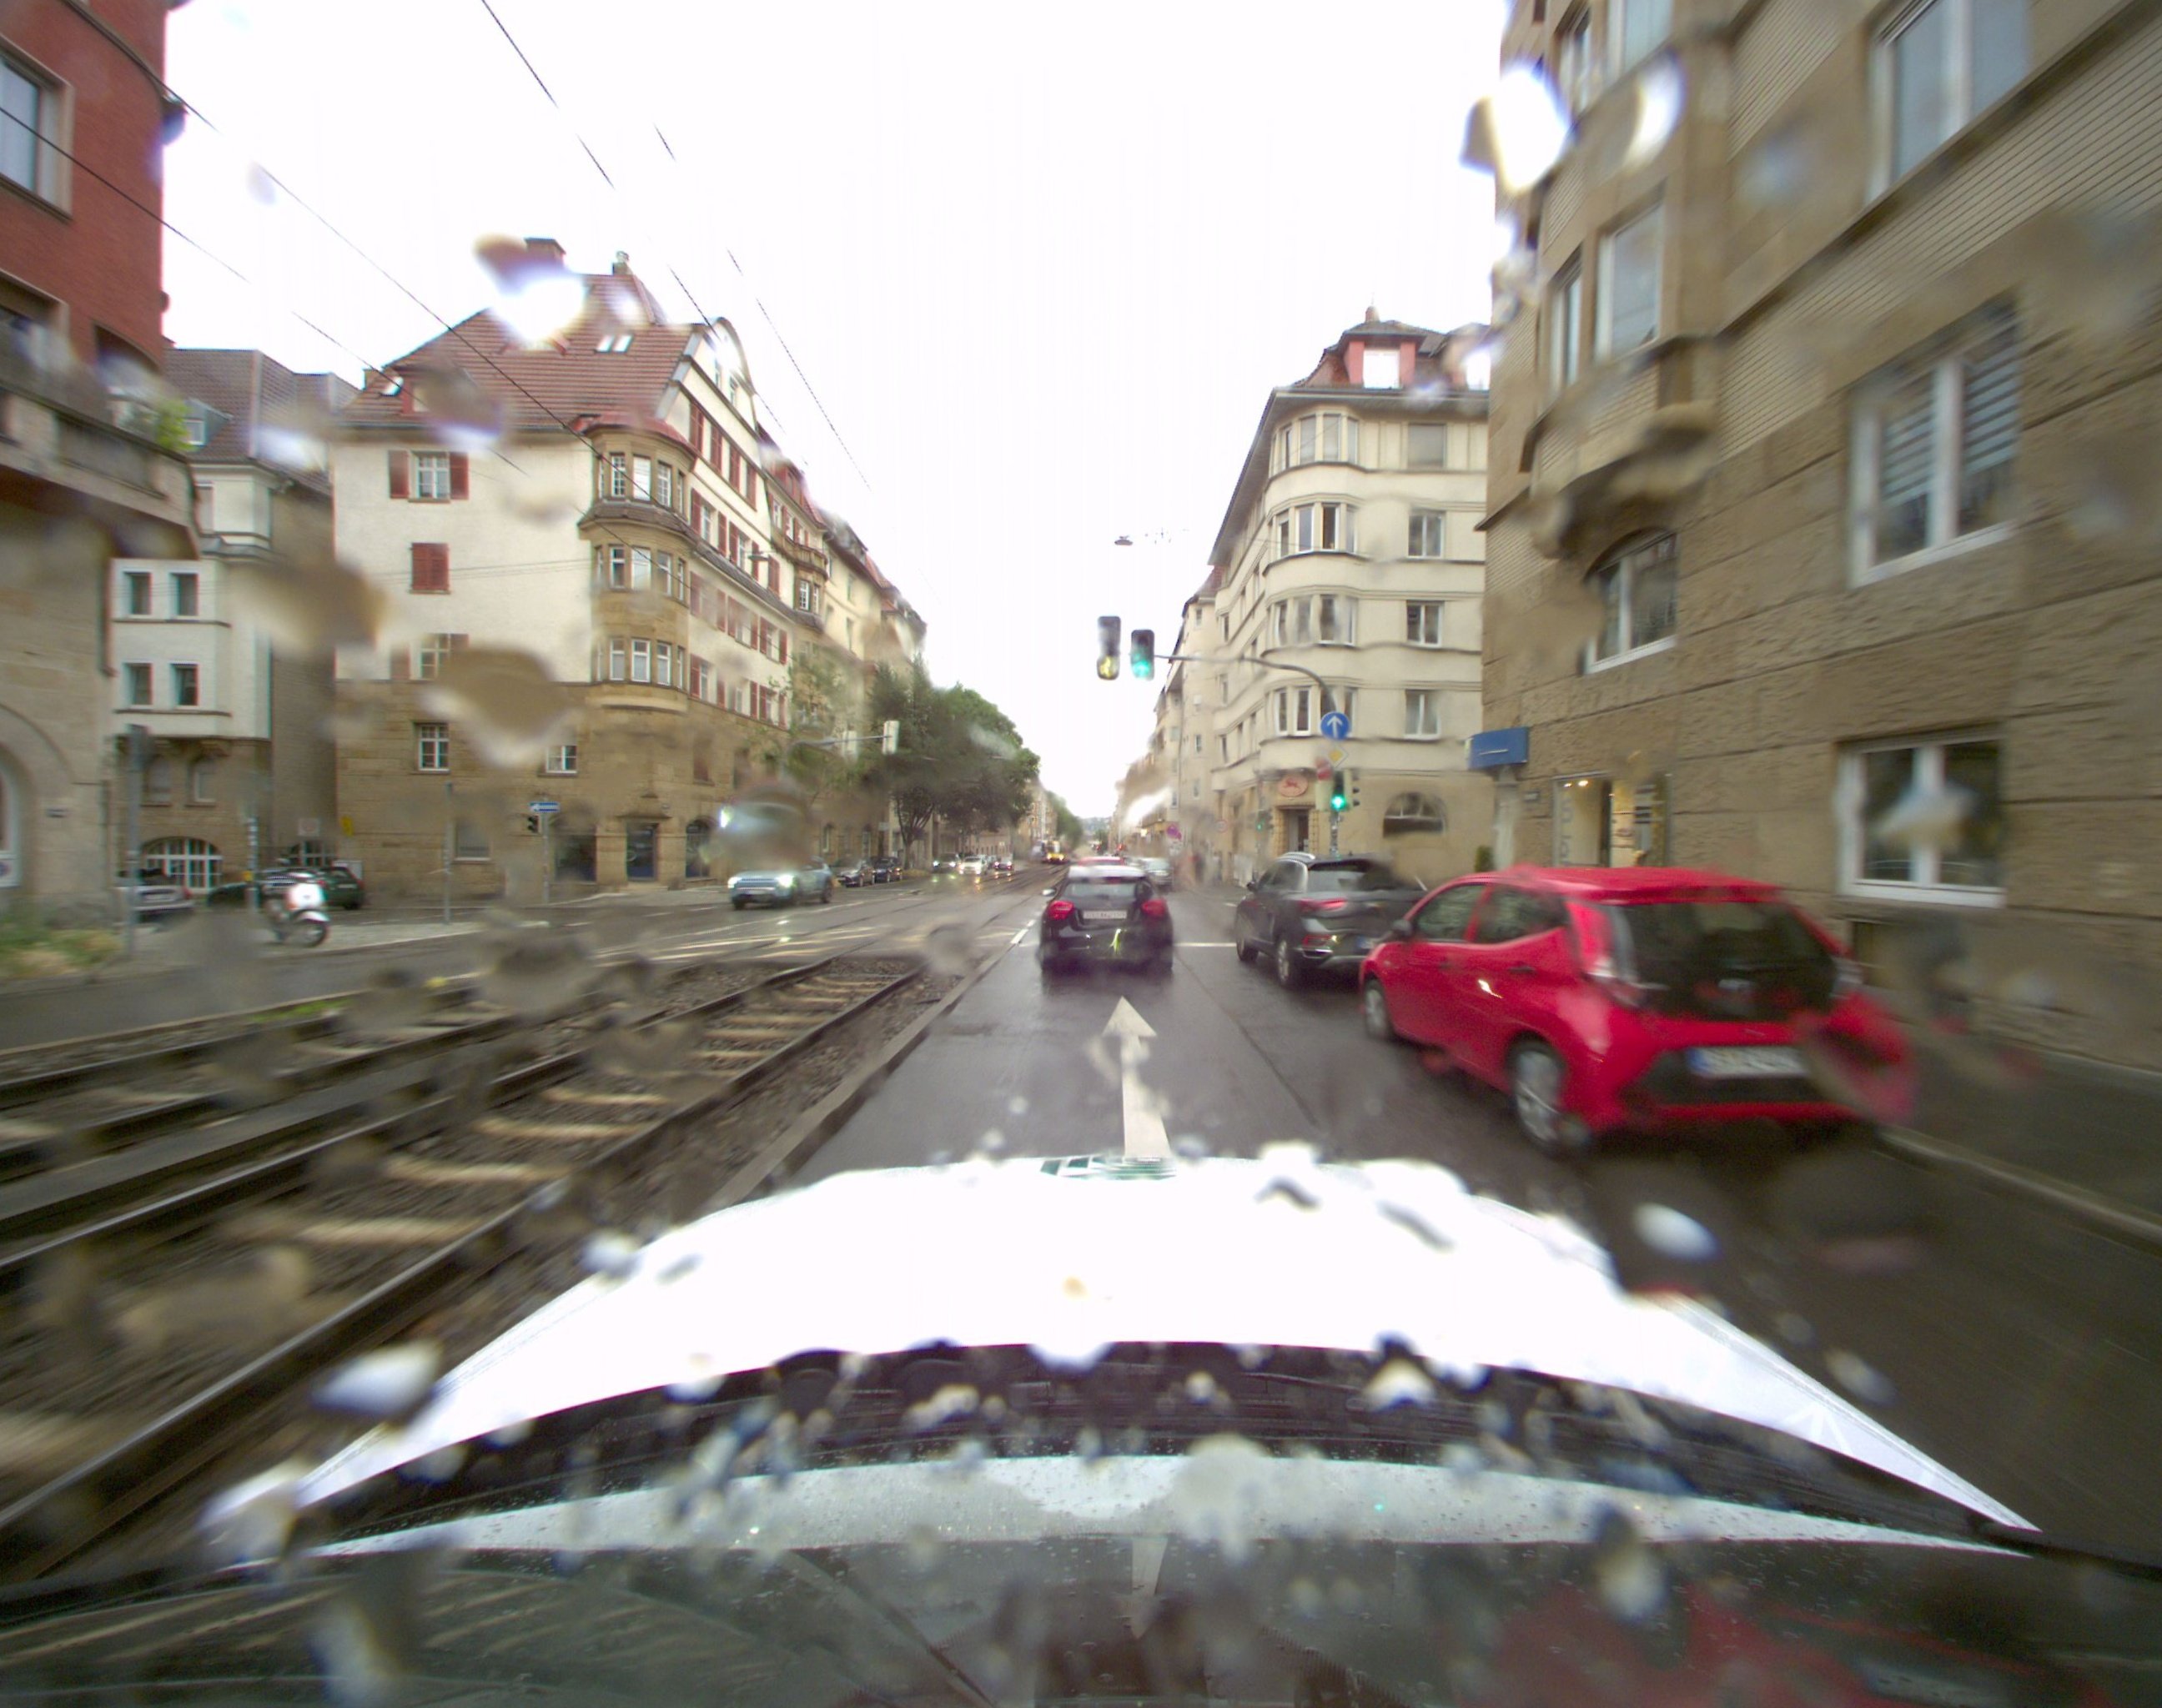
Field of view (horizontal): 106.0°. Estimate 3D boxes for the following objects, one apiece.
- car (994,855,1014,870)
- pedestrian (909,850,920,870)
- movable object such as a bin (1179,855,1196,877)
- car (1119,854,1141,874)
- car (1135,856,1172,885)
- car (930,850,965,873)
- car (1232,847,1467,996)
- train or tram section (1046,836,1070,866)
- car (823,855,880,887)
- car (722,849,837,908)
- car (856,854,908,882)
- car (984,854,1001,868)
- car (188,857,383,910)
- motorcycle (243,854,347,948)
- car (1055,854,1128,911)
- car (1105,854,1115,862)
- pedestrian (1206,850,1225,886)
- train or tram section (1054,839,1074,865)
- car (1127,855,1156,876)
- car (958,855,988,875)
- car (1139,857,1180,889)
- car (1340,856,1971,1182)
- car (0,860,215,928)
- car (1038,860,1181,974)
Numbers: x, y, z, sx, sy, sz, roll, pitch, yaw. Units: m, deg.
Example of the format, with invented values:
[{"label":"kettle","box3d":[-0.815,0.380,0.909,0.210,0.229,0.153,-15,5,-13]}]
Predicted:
[{"label":"car","box3d":[-7.724,0.816,81.666,1.648,1.463,3.733,-1,0,0]},{"label":"pedestrian","box3d":[-14.092,0.479,69.032,0.726,1.663,0.771,1,0,1]},{"label":"movable object such as a bin","box3d":[7.116,0.793,54.655,0.976,1.468,1.273,0,-1,1]},{"label":"car","box3d":[4.180,0.856,69.516,1.833,1.608,4.765,0,-1,4]},{"label":"car","box3d":[3.844,0.864,43.856,1.706,1.468,4.775,0,-1,2]},{"label":"car","box3d":[-10.963,0.615,67.266,1.947,1.742,4.778,3,0,0]},{"label":"car","box3d":[3.220,0.726,10.642,1.861,1.549,3.992,1,0,2]},{"label":"train or tram section","box3d":[-3.304,-0.431,121.081,2.736,4.062,17.215,0,0,1]},{"label":"car","box3d":[-11.456,0.828,40.893,1.684,1.529,4.175,0,-1,0]},{"label":"car","box3d":[-8.951,0.712,24.599,1.915,1.617,4.128,0,-1,0]},{"label":"car","box3d":[-11.273,0.791,46.449,1.775,1.460,4.977,0,-1,0]},{"label":"car","box3d":[-10.184,0.794,93.496,1.567,1.467,3.044,1,0,0]},{"label":"car","box3d":[-24.676,0.894,25.381,3.977,1.574,1.998,0,-1,-2]},{"label":"motorcycle","box3d":[-12.211,0.696,12.643,1.761,1.375,0.772,-1,-1,33]},{"label":"car","box3d":[0.348,0.799,24.338,1.986,1.525,4.247,1,0,2]},{"label":"car","box3d":[6.083,0.819,168.533,1.879,1.525,4.249,1,0,3]},{"label":"pedestrian","box3d":[6.412,0.663,38.928,0.801,1.687,0.754,0,-1,1]},{"label":"train or tram section","box3d":[-2.793,-0.345,137.408,2.736,4.062,15.662,0,0,1]},{"label":"car","box3d":[4.189,0.801,56.919,1.783,1.385,4.396,0,-1,1]},{"label":"car","box3d":[-8.140,0.840,61.732,1.775,1.503,4.061,0,-1,0]},{"label":"car","box3d":[3.657,0.867,38.489,1.703,1.410,4.821,0,-1,3]},{"label":"car","box3d":[3.166,0.757,5.437,1.700,1.453,3.531,1,0,-1]},{"label":"car","box3d":[-22.670,0.885,18.565,3.972,1.467,1.747,0,-1,1]},{"label":"car","box3d":[0.424,0.816,12.382,1.828,1.453,3.903,0,0,2]}]
